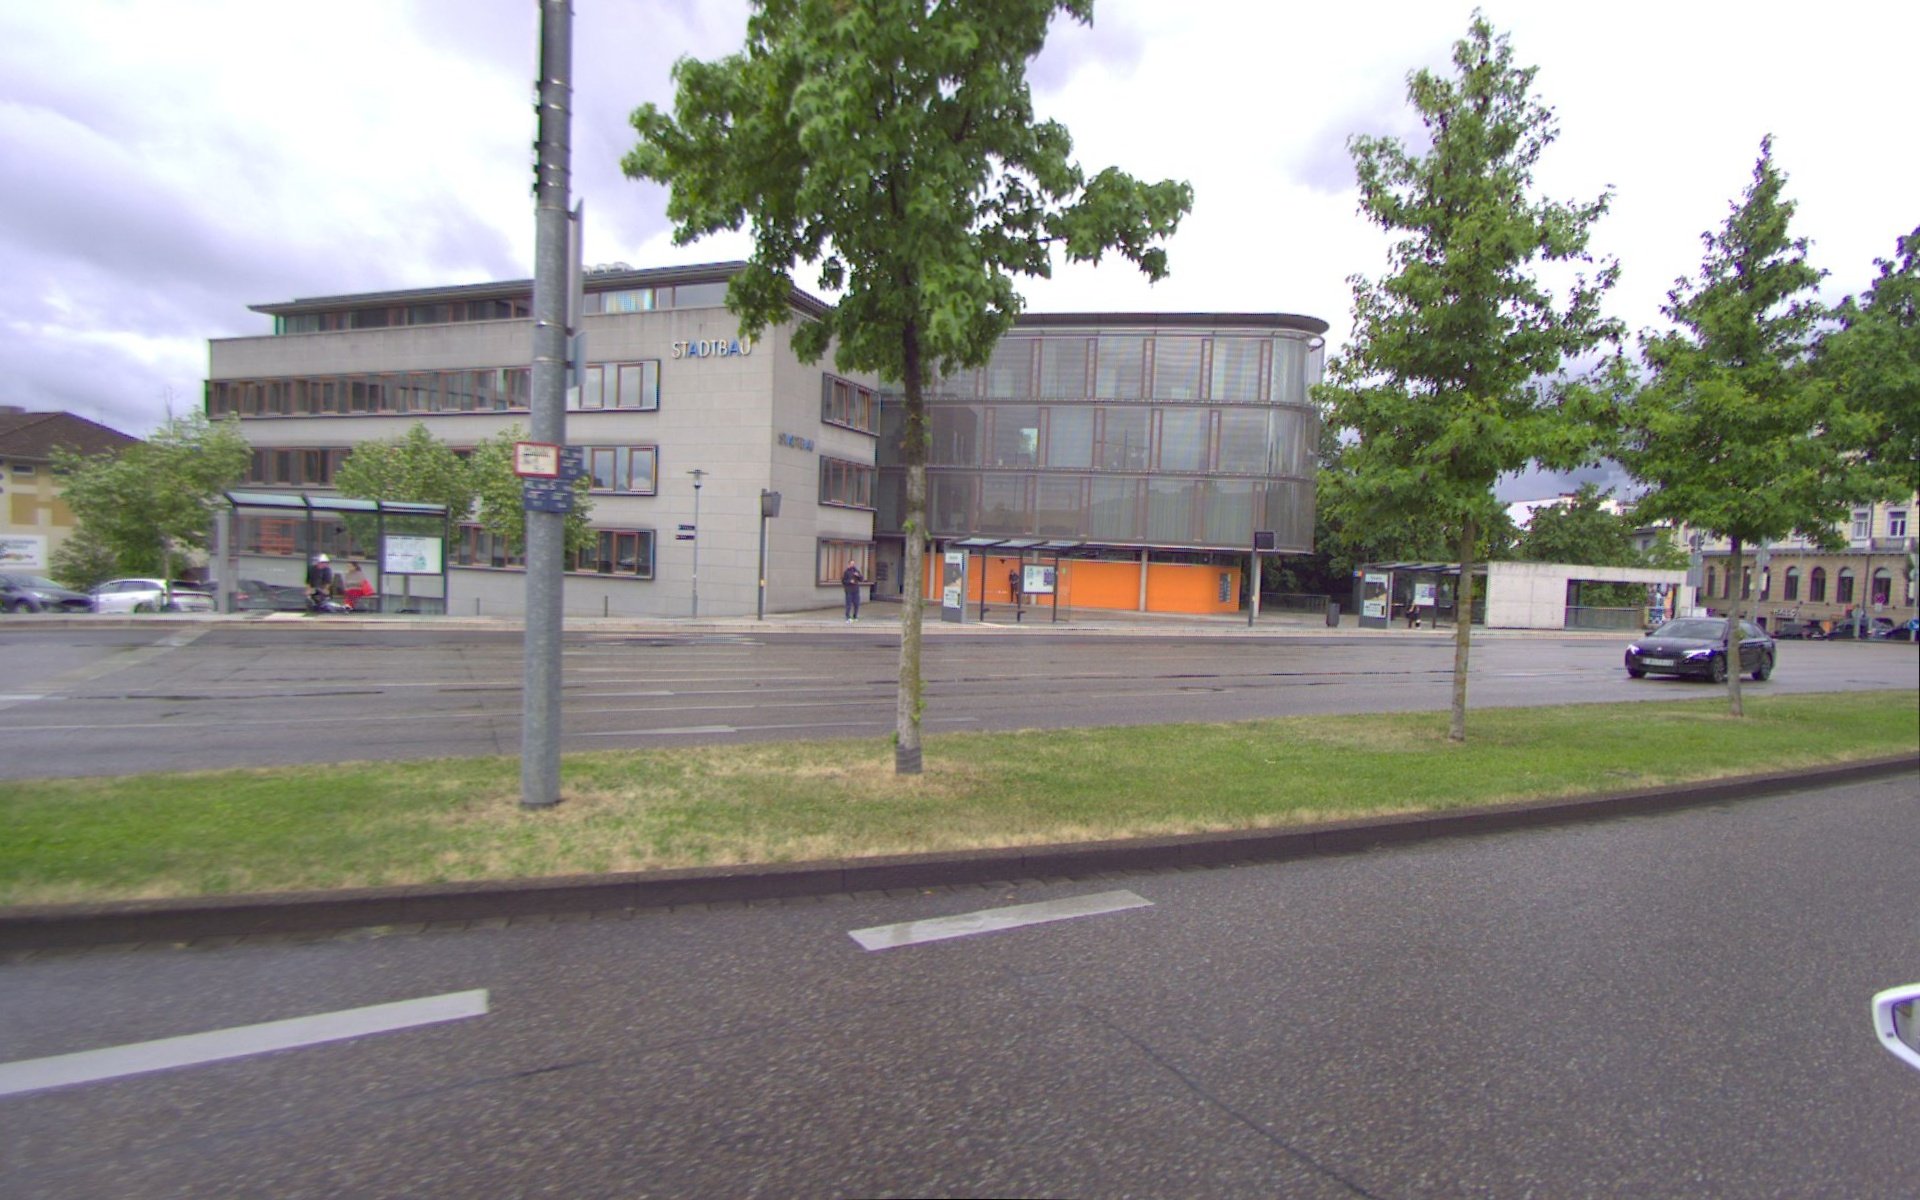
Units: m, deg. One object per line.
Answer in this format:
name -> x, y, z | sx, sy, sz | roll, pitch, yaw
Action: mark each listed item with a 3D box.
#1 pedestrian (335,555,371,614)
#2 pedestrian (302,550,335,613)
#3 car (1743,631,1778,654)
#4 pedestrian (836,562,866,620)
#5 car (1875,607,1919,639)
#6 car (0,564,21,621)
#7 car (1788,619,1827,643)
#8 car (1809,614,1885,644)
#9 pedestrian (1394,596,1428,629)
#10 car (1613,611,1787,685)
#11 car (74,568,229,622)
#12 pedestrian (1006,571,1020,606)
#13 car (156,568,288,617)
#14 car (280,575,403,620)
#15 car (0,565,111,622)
pedestrian -> -14.741, -0.378, 24.410 | 0.713, 1.411, 0.674 | 2, 1, -31
pedestrian -> -15.395, -0.445, 24.108 | 0.619, 1.488, 0.674 | 1, 1, -31
car -> 59.952, 3.171, 75.271 | 1.634, 1.626, 3.245 | -1, -1, 31
pedestrian -> -3.248, -0.257, 29.967 | 0.752, 1.706, 0.473 | 1, 1, -23
car -> 52.860, 1.295, 55.236 | 1.805, 1.649, 3.706 | 2, 1, 3
car -> -27.292, -0.241, 26.342 | 3.522, 1.515, 1.628 | 2, 1, -14
car -> 59.283, 2.146, 70.288 | 1.635, 1.626, 3.244 | -1, -1, 32
car -> 57.274, 1.833, 64.955 | 2.077, 1.799, 4.392 | 2, 0, 19
pedestrian -> 19.114, 0.540, 42.559 | 0.834, 1.285, 0.977 | 2, 5, -8
car -> 17.396, 1.098, 23.563 | 4.587, 1.548, 1.671 | 2, 1, -32
car -> -25.426, -0.176, 31.639 | 3.711, 1.515, 1.767 | 2, 1, 10
pedestrian -> 2.617, -0.571, 49.575 | 0.630, 1.706, 0.475 | 2, 1, 2
car -> -25.175, -0.252, 34.305 | 3.509, 1.515, 1.634 | 2, 1, 10
car -> -22.900, -0.101, 37.307 | 3.519, 1.515, 1.629 | 2, 1, -11
car -> -26.635, -0.214, 28.467 | 3.522, 1.515, 1.628 | 2, 1, -14
